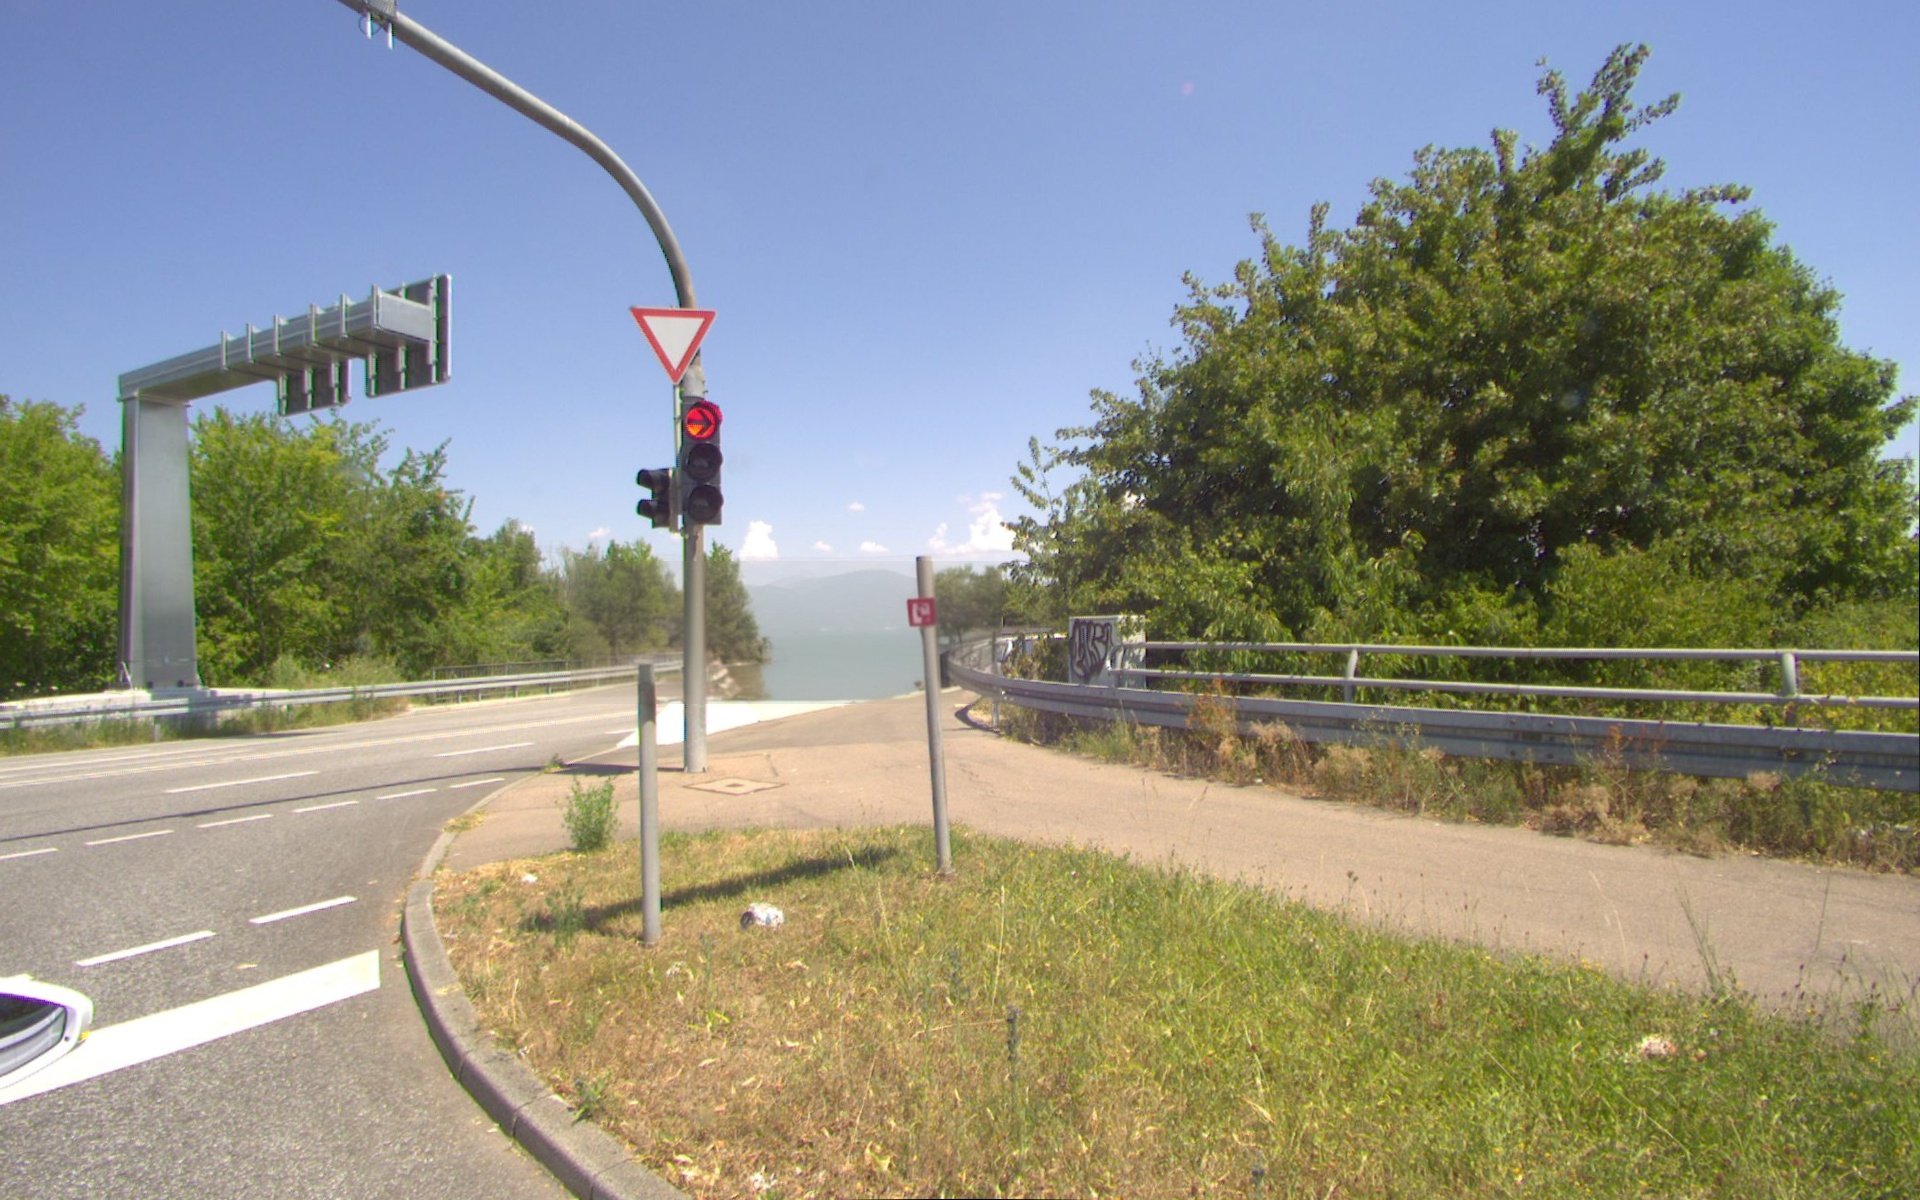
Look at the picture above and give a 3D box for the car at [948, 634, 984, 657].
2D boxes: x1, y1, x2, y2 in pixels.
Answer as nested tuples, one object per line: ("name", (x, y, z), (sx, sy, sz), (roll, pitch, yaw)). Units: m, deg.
("car", (0.443, 3.046, 67.297), (1.620, 1.369, 3.968), (-3, -3, 11))
